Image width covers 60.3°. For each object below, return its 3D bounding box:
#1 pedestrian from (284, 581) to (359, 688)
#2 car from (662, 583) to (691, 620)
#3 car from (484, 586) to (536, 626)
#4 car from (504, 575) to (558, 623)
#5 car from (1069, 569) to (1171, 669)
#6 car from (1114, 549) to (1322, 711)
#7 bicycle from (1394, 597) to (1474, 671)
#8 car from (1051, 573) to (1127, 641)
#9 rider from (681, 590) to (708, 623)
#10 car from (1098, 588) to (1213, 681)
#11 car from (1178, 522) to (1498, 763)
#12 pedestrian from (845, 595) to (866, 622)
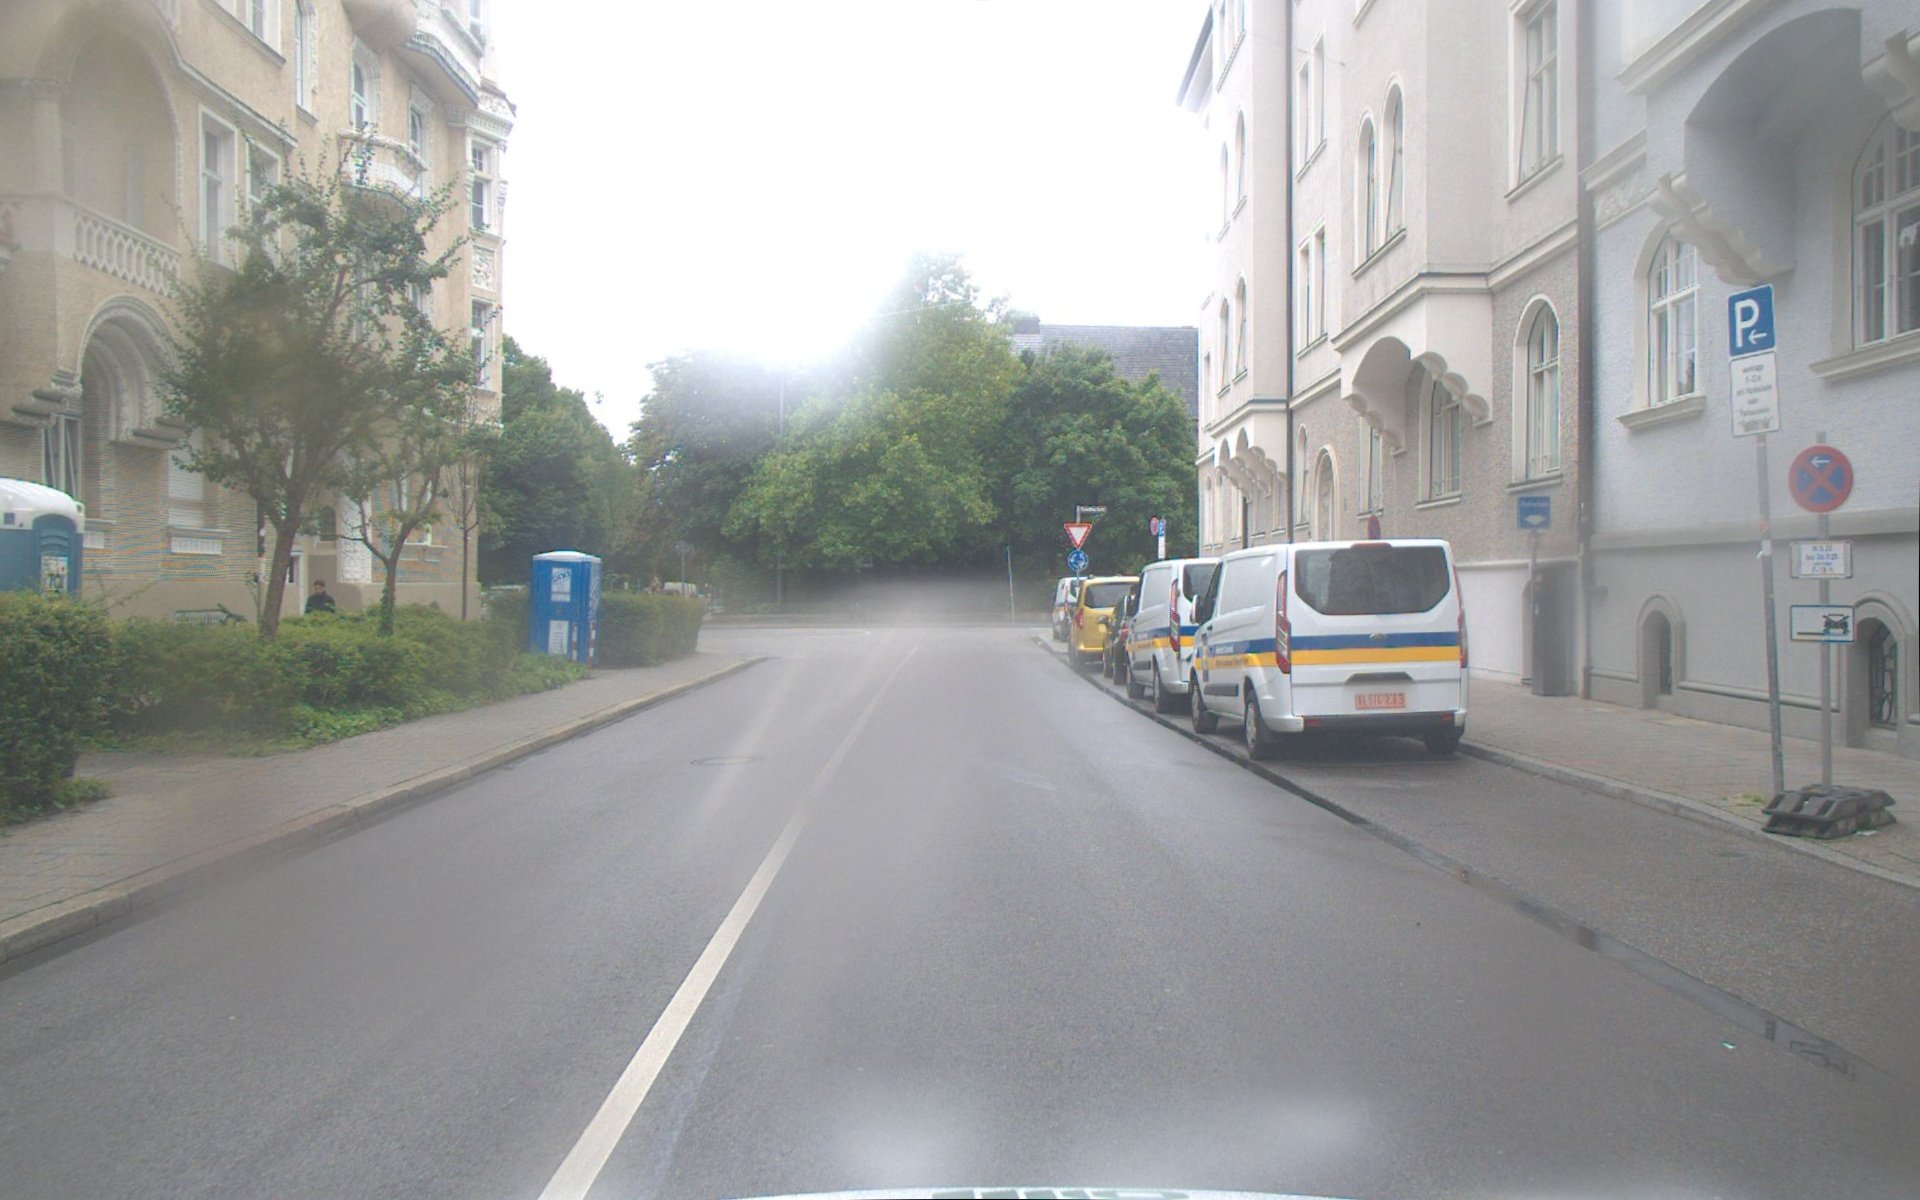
[{"bbox_3d":[-10.840,0.574,28.101,0.895,1.782,0.948,-1,0,-1],"label":"pedestrian"},{"bbox_3d":[-20.581,0.064,120.143,2.004,2.603,5.235,-1,0,-10],"label":"car"},{"bbox_3d":[-26.351,0.326,97.030,2.069,2.290,5.189,-1,0,-5],"label":"car"},{"bbox_3d":[-27.522,-0.052,106.332,2.289,2.973,6.572,0,0,-5],"label":"car"},{"bbox_3d":[3.215,0.346,34.061,1.812,1.885,4.822,-1,0,2],"label":"car"},{"bbox_3d":[3.440,0.354,23.006,1.920,1.971,4.991,-1,0,-2],"label":"car"},{"bbox_3d":[7.622,0.528,26.666,0.680,1.112,2.037,-3,0,1],"label":"bicycle"},{"bbox_3d":[4.015,0.192,52.124,1.877,1.996,4.926,-2,0,-1],"label":"car"},{"bbox_3d":[-14.043,0.325,87.639,1.059,1.696,1.140,-3,0,7],"label":"rider"},{"bbox_3d":[3.375,0.557,29.073,1.598,1.510,3.784,-1,0,1],"label":"car"},{"bbox_3d":[3.608,0.350,16.813,1.920,2.049,4.991,-1,0,-2],"label":"car"},{"bbox_3d":[-4.733,0.402,75.163,0.794,1.209,0.920,-1,0,6],"label":"pedestrian"}]
